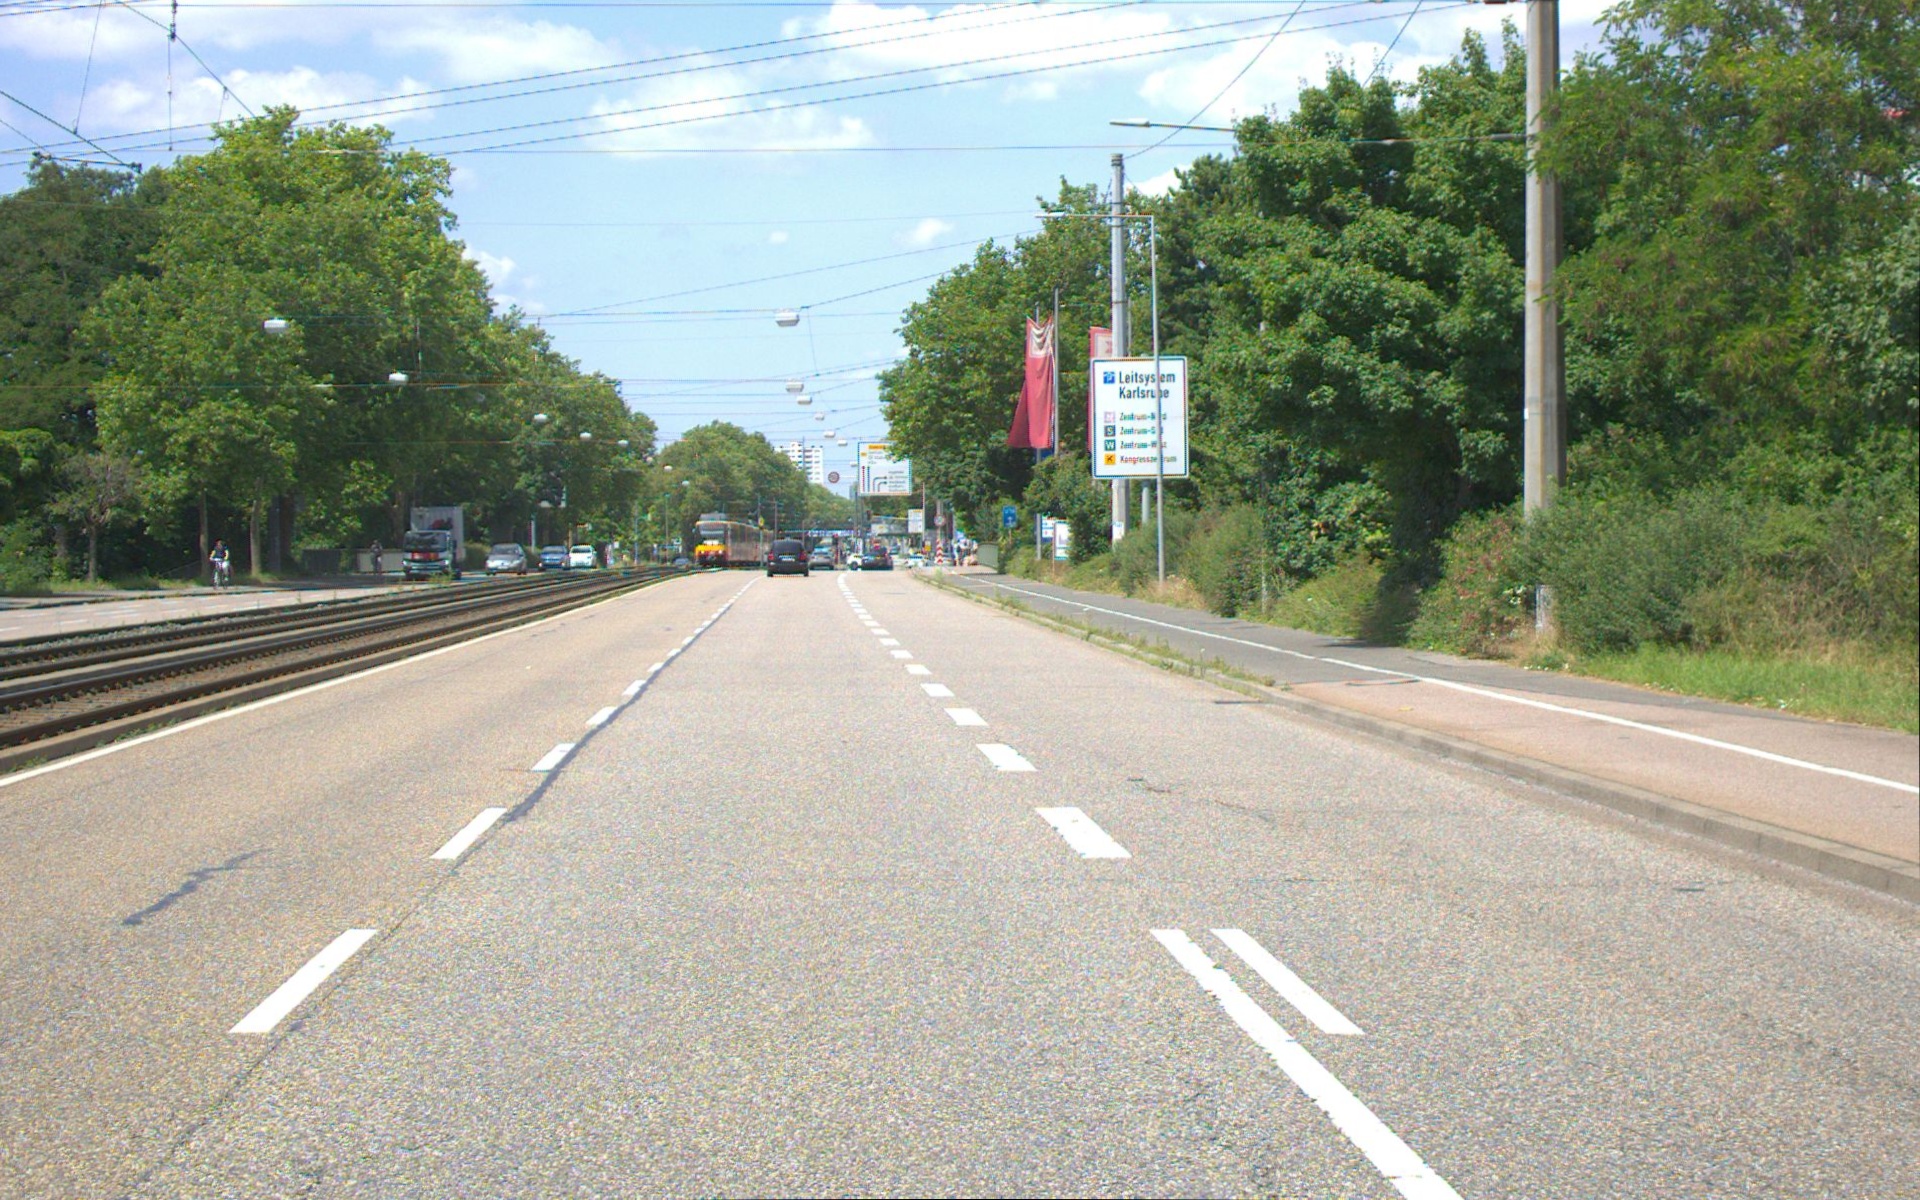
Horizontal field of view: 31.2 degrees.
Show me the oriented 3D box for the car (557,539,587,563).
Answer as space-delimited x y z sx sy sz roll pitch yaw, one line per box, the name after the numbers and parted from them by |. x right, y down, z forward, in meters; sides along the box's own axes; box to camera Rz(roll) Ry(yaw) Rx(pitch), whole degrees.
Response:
-24.934 -3.155 221.018 1.636 1.431 3.722 -2 1 -3 | car

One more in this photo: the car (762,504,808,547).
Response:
-7.500 -3.178 147.277 1.899 1.799 3.977 1 1 -3 | car

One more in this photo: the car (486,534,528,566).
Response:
-22.755 -2.516 172.721 1.752 1.530 3.958 -1 1 -3 | car

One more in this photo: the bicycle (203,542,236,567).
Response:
-25.885 -1.592 120.210 0.651 0.856 2.120 1 1 1 | bicycle

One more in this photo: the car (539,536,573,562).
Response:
-23.710 -2.998 201.816 1.636 1.417 4.128 -1 1 -2 | car

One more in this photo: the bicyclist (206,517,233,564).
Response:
-25.875 -2.089 120.144 0.651 1.614 1.155 1 1 1 | bicyclist

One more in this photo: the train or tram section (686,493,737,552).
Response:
-18.405 -5.748 255.519 3.048 4.252 15.424 -1 1 -1 | train or tram section

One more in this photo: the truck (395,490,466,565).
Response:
-23.185 -3.175 150.645 2.249 3.225 6.042 -1 1 -1 | truck

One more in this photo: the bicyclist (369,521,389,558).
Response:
-25.884 -2.682 153.203 0.623 1.612 1.062 2 1 3 | bicyclist

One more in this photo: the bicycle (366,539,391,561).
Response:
-25.894 -2.231 153.224 0.623 0.976 2.054 2 1 3 | bicycle
